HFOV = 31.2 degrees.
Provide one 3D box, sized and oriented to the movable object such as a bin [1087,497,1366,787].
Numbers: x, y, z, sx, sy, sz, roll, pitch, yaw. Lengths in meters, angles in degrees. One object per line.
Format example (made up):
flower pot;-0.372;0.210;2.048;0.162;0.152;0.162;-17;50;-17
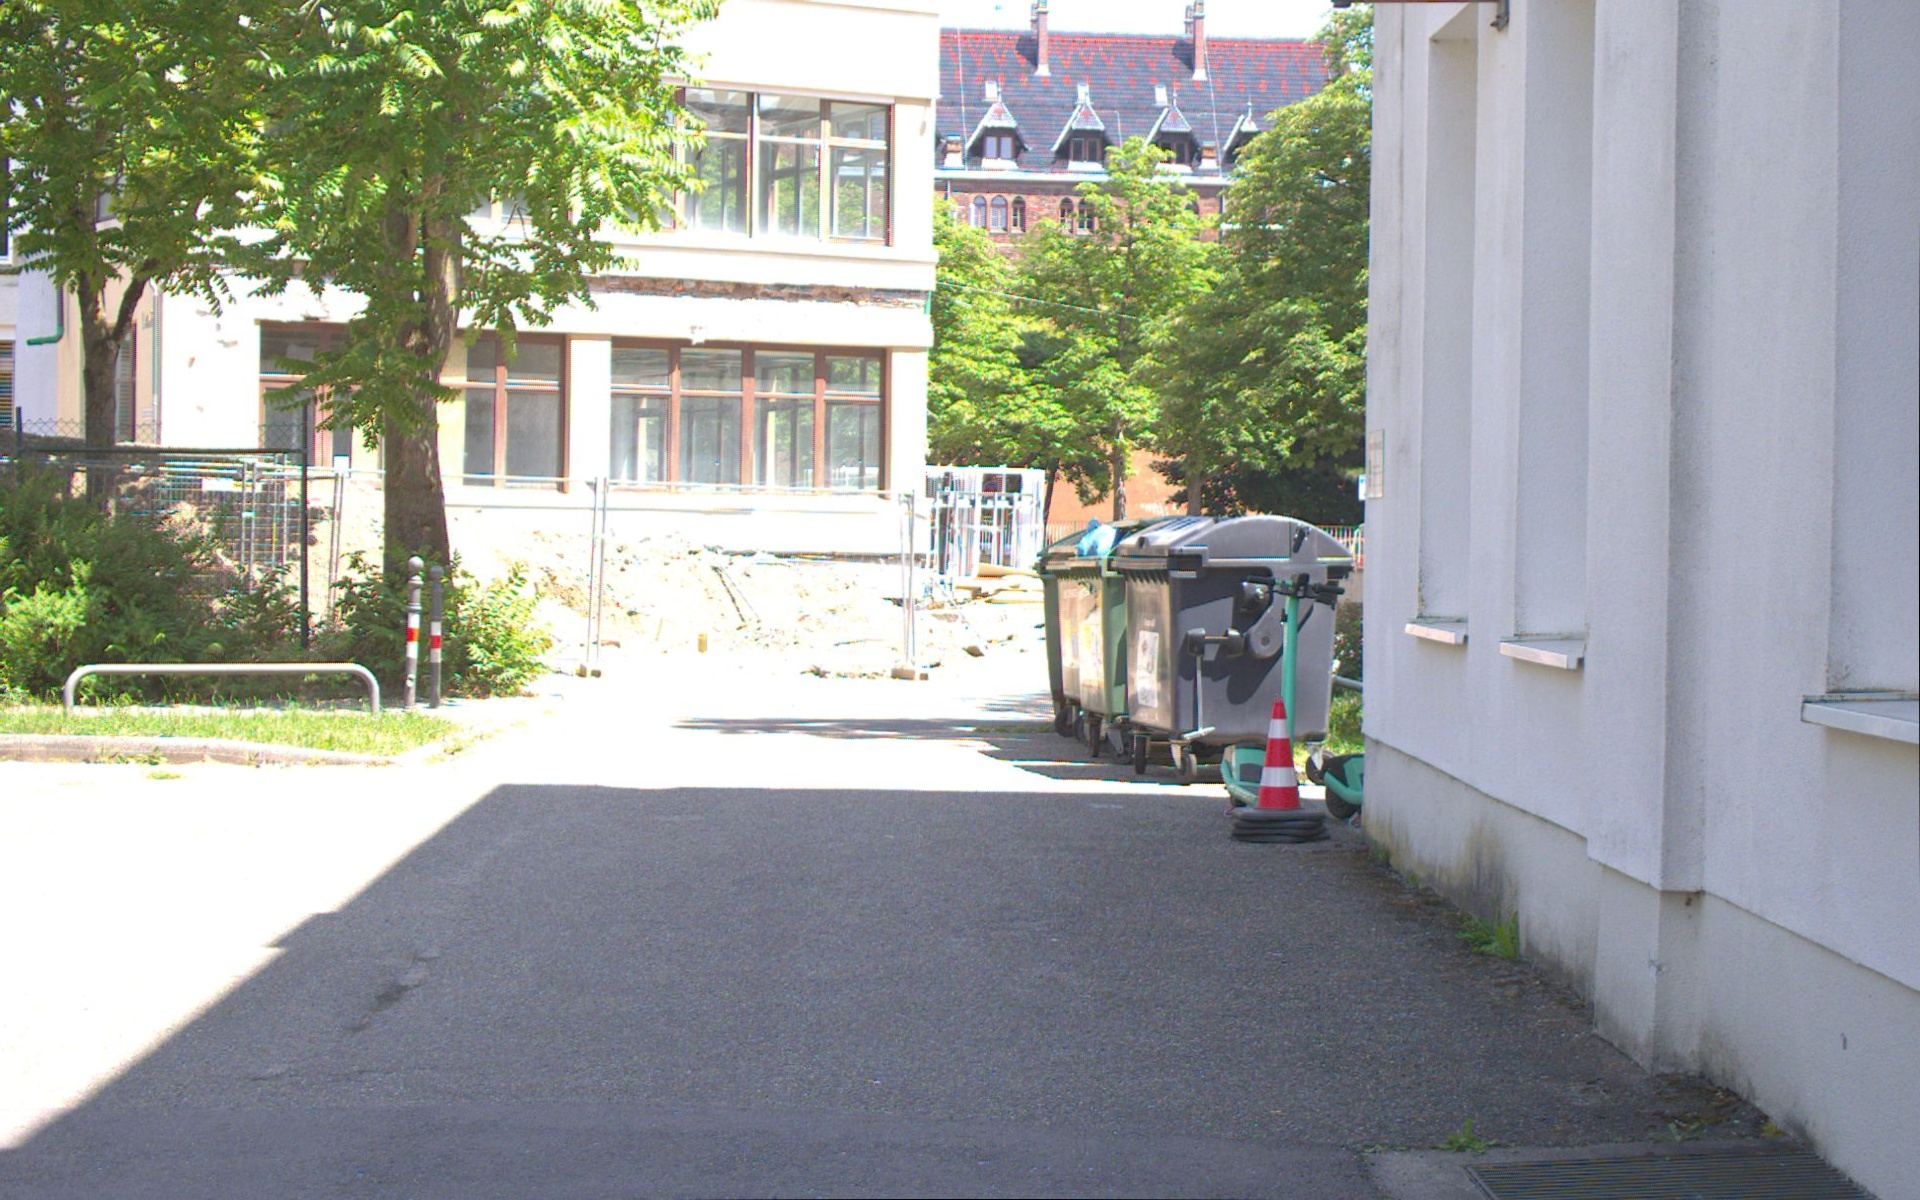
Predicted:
movable object such as a bin;1.431;0.221;18.787;1.154;1.500;1.463;1;0;-10

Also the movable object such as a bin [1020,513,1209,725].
movable object such as a bin;1.133;0.134;24.883;1.179;1.465;1.332;1;0;10

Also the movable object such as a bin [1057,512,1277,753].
movable object such as a bin;1.302;0.201;21.905;1.178;1.465;1.312;1;0;-5

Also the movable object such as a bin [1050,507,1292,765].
movable object such as a bin;1.237;0.208;20.518;1.178;1.465;1.312;1;0;-8

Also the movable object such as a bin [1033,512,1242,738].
movable object such as a bin;1.190;0.166;23.344;1.178;1.465;1.312;1;0;-7

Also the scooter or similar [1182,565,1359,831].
scooter or similar;1.427;0.431;15.999;0.463;1.170;1.357;1;1;-10

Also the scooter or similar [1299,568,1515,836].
scooter or similar;2.046;0.449;15.874;0.463;1.170;1.256;1;1;-19
